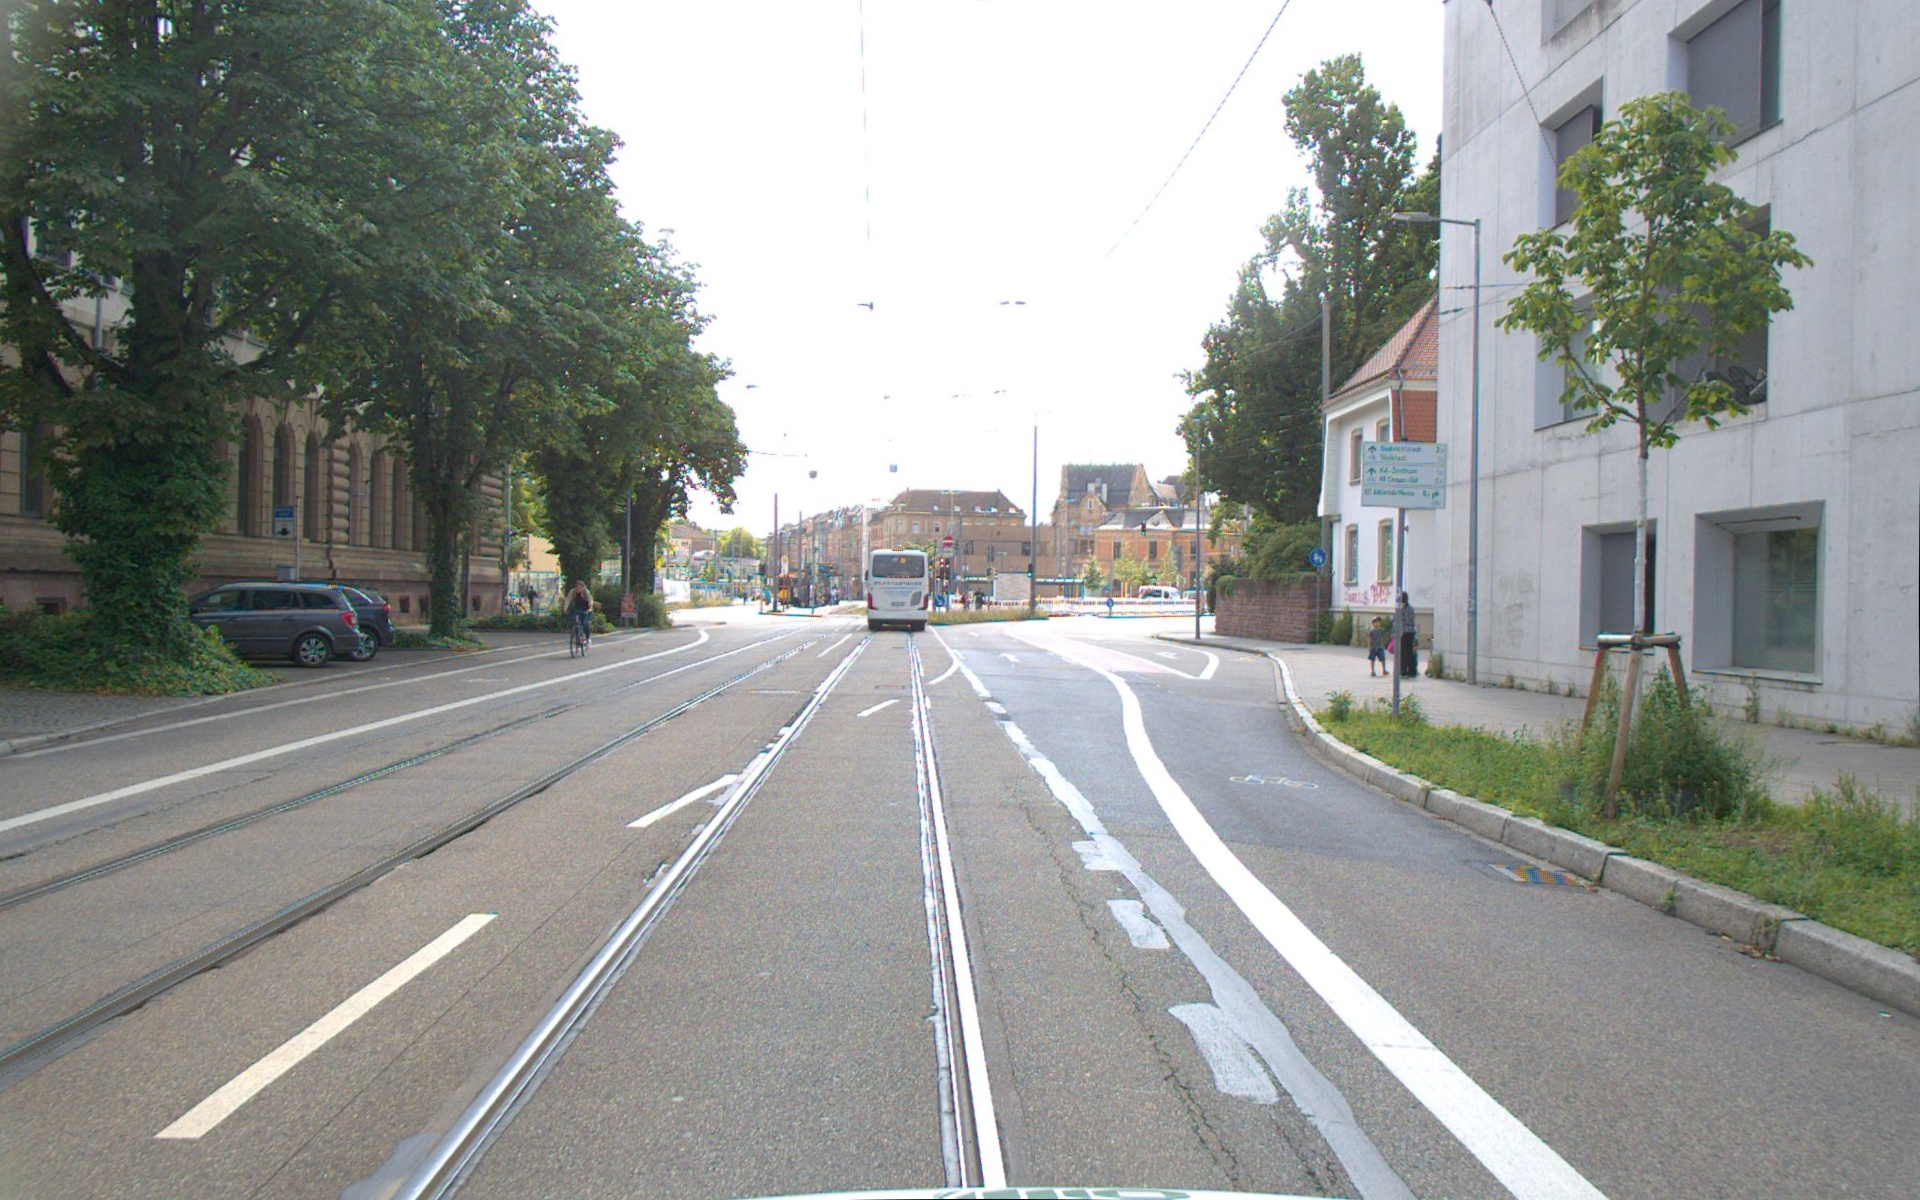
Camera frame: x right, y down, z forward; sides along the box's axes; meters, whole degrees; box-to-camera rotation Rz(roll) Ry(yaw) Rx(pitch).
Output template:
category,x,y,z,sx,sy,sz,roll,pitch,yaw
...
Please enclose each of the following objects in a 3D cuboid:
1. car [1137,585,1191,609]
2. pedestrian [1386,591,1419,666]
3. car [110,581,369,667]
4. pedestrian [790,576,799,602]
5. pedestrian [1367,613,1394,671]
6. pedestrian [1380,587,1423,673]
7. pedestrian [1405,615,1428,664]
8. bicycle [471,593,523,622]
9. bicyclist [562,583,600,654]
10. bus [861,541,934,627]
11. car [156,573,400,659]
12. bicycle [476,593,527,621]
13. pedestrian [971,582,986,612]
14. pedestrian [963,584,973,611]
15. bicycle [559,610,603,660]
category,x,y,z,sx,sy,sz,roll,pitch,yaw
car,20.628,-0.329,167.542,2.278,2.359,5.513,1,0,-38
pedestrian,9.619,0.615,35.964,0.510,1.607,0.547,-1,2,-12
car,-13.114,0.410,30.151,4.182,1.472,1.776,0,1,-30
pedestrian,-12.229,-0.782,122.434,0.599,1.918,0.793,0,0,-1
pedestrian,9.098,0.910,35.756,0.419,1.221,0.400,-2,2,-42
pedestrian,9.147,0.612,34.307,0.671,1.754,0.747,-1,1,-1
pedestrian,9.752,0.836,35.353,0.336,1.028,0.396,-1,2,-11
bicycle,-20.534,0.331,73.354,2.072,1.188,0.729,2,0,-4
bicyclist,-8.351,0.396,36.483,0.677,1.546,0.867,-1,0,-5
bus,-2.785,-0.650,72.953,2.859,3.386,12.199,2,0,-3
car,-13.498,0.327,32.811,4.189,1.577,1.905,2,0,-34
bicycle,-20.647,0.330,74.548,2.072,1.188,0.729,2,0,-4
pedestrian,1.181,-0.167,106.757,0.601,1.918,0.790,1,0,38
pedestrian,0.528,-0.165,106.100,0.400,1.766,0.620,1,0,26
bicycle,-8.352,0.757,36.510,0.685,1.035,1.817,-1,1,-5
